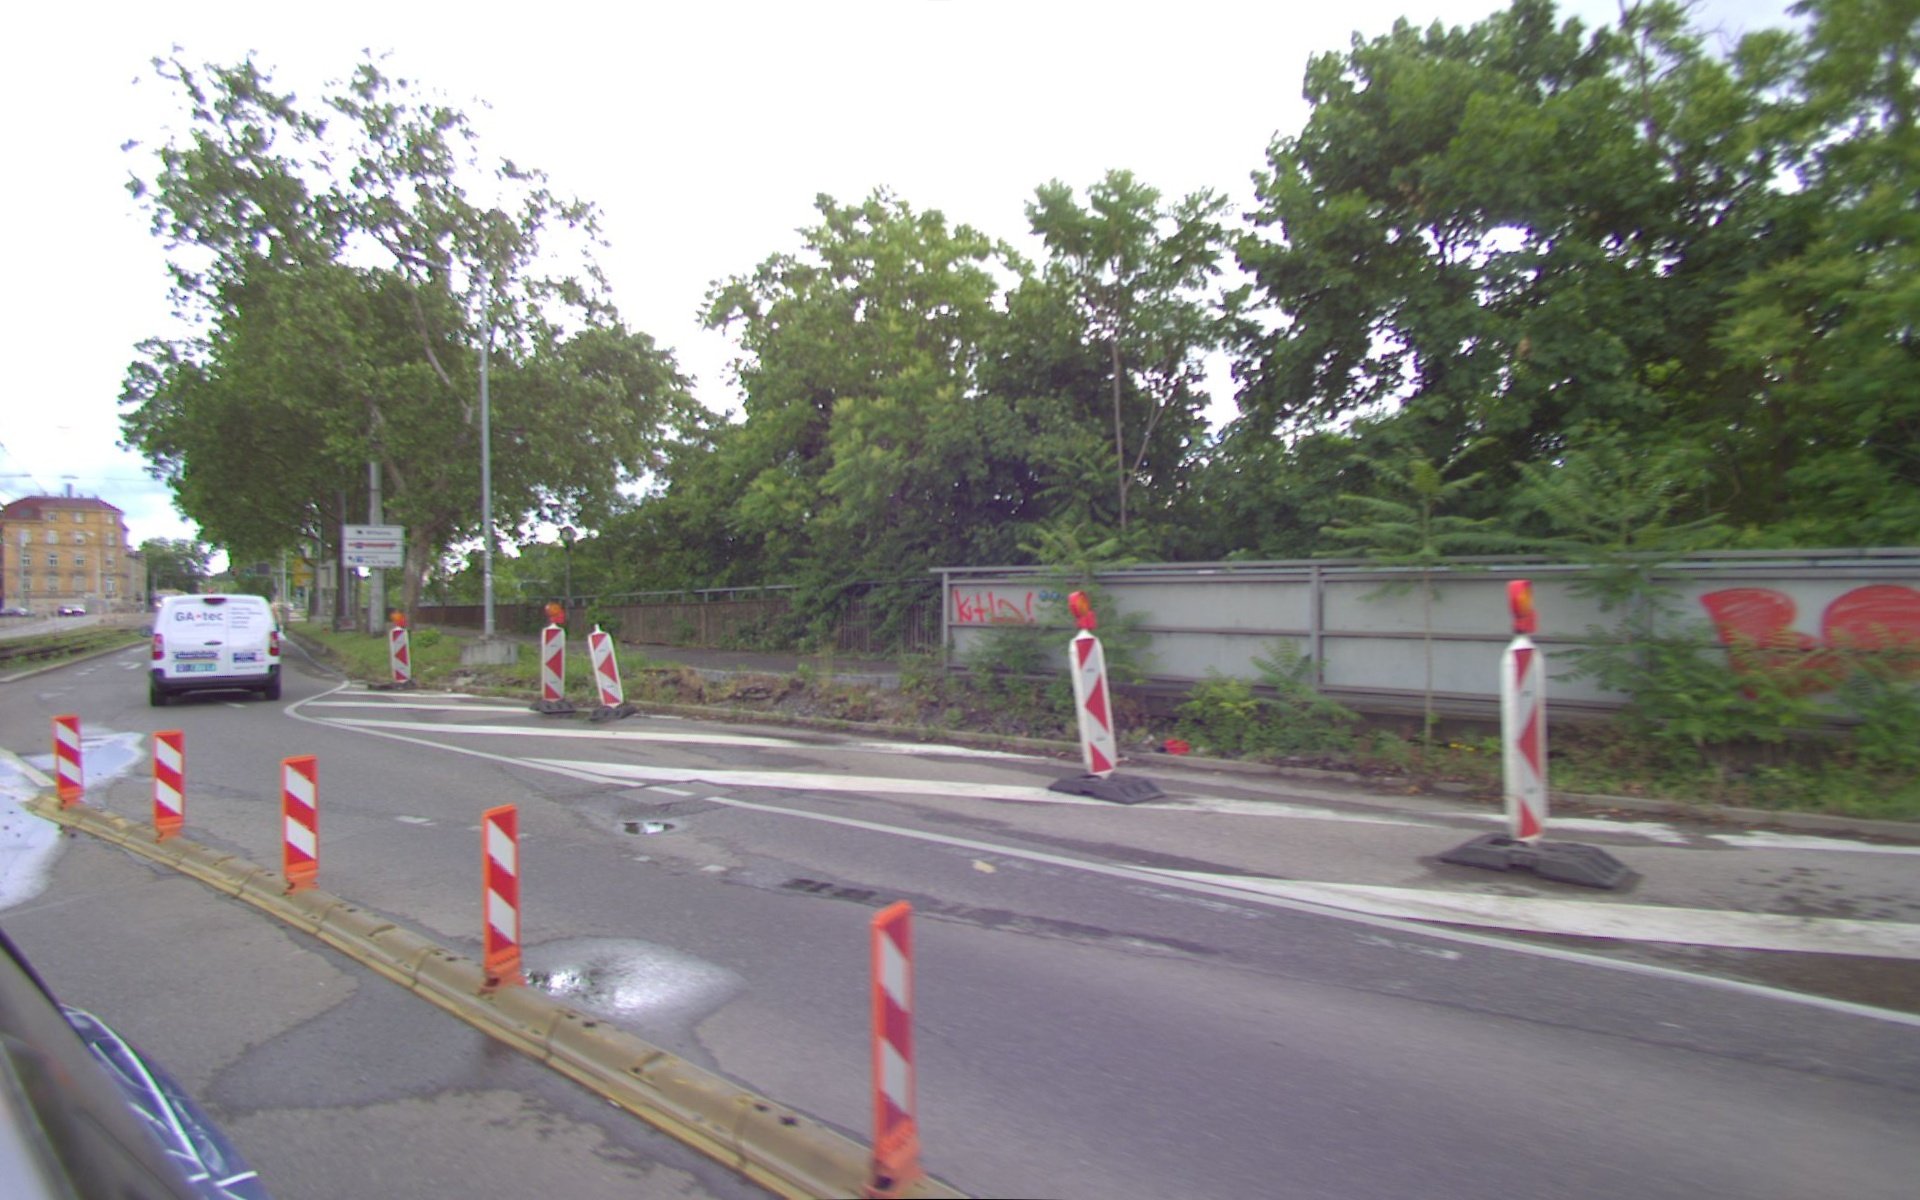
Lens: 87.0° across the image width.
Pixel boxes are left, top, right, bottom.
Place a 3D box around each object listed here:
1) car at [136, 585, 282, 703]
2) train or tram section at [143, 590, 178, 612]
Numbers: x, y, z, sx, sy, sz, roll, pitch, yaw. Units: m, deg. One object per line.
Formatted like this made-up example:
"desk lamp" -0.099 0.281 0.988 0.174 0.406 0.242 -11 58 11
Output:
"car" -13.317 0.679 17.828 1.840 1.795 4.757 -1 0 -39
"train or tram section" -126.909 0.085 160.862 3.680 3.391 17.598 1 0 -36
